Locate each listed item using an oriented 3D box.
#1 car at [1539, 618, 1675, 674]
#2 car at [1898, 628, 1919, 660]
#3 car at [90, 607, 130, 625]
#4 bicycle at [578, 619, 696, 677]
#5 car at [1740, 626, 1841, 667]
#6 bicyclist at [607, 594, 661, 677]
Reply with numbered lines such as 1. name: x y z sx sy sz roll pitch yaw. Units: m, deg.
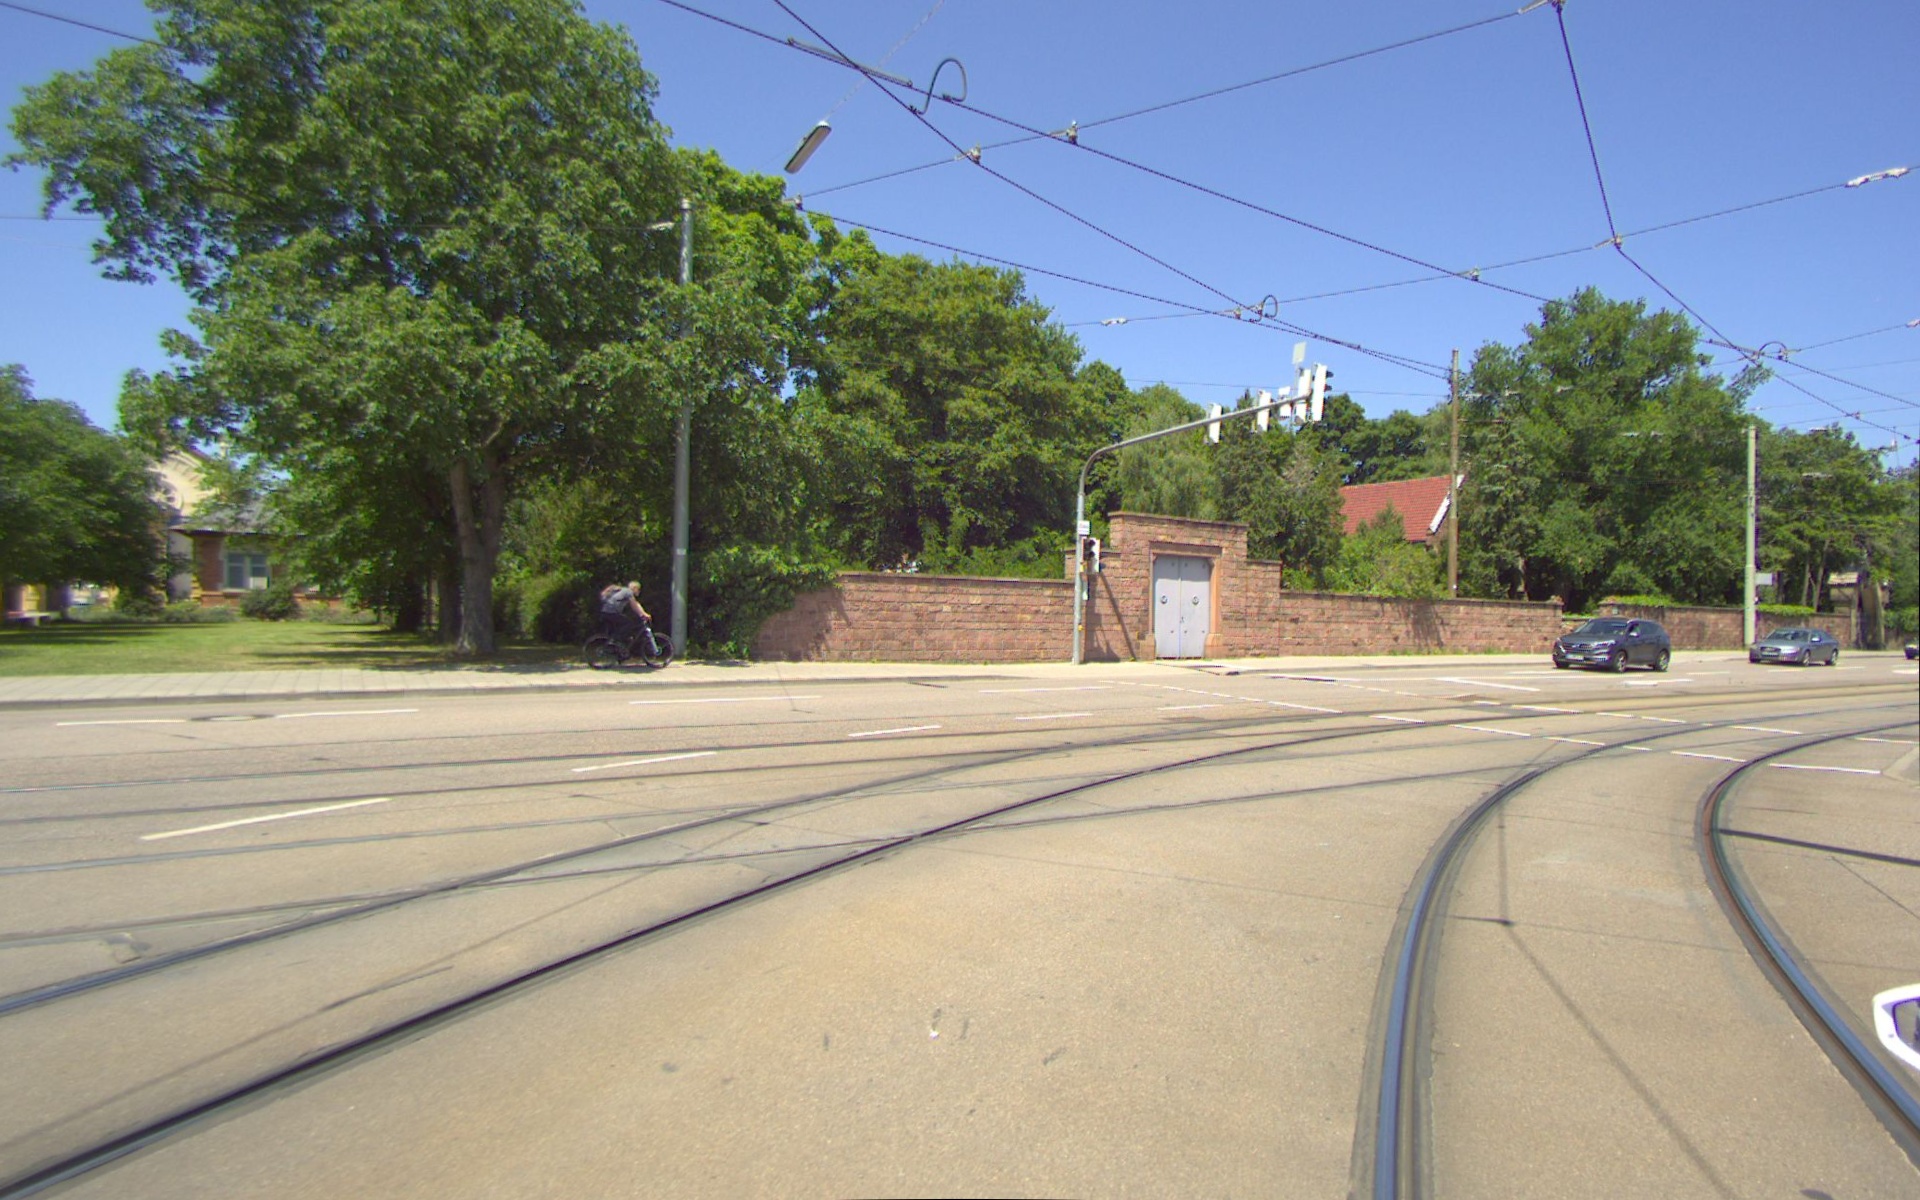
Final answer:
1. car: 20.460 1.436 31.720 4.467 1.624 1.811 1 -1 -30
2. car: 46.127 2.083 47.478 4.070 1.418 1.632 1 1 -32
3. car: -47.942 0.885 56.698 1.316 0.964 2.712 1 -1 -32
4. bicycle: -6.255 0.913 19.479 2.079 1.055 0.711 1 0 -31
5. car: 32.195 1.762 38.925 4.117 1.440 1.634 1 1 -29
6. bicyclist: -6.315 0.674 19.457 0.835 1.551 0.846 1 0 -31
